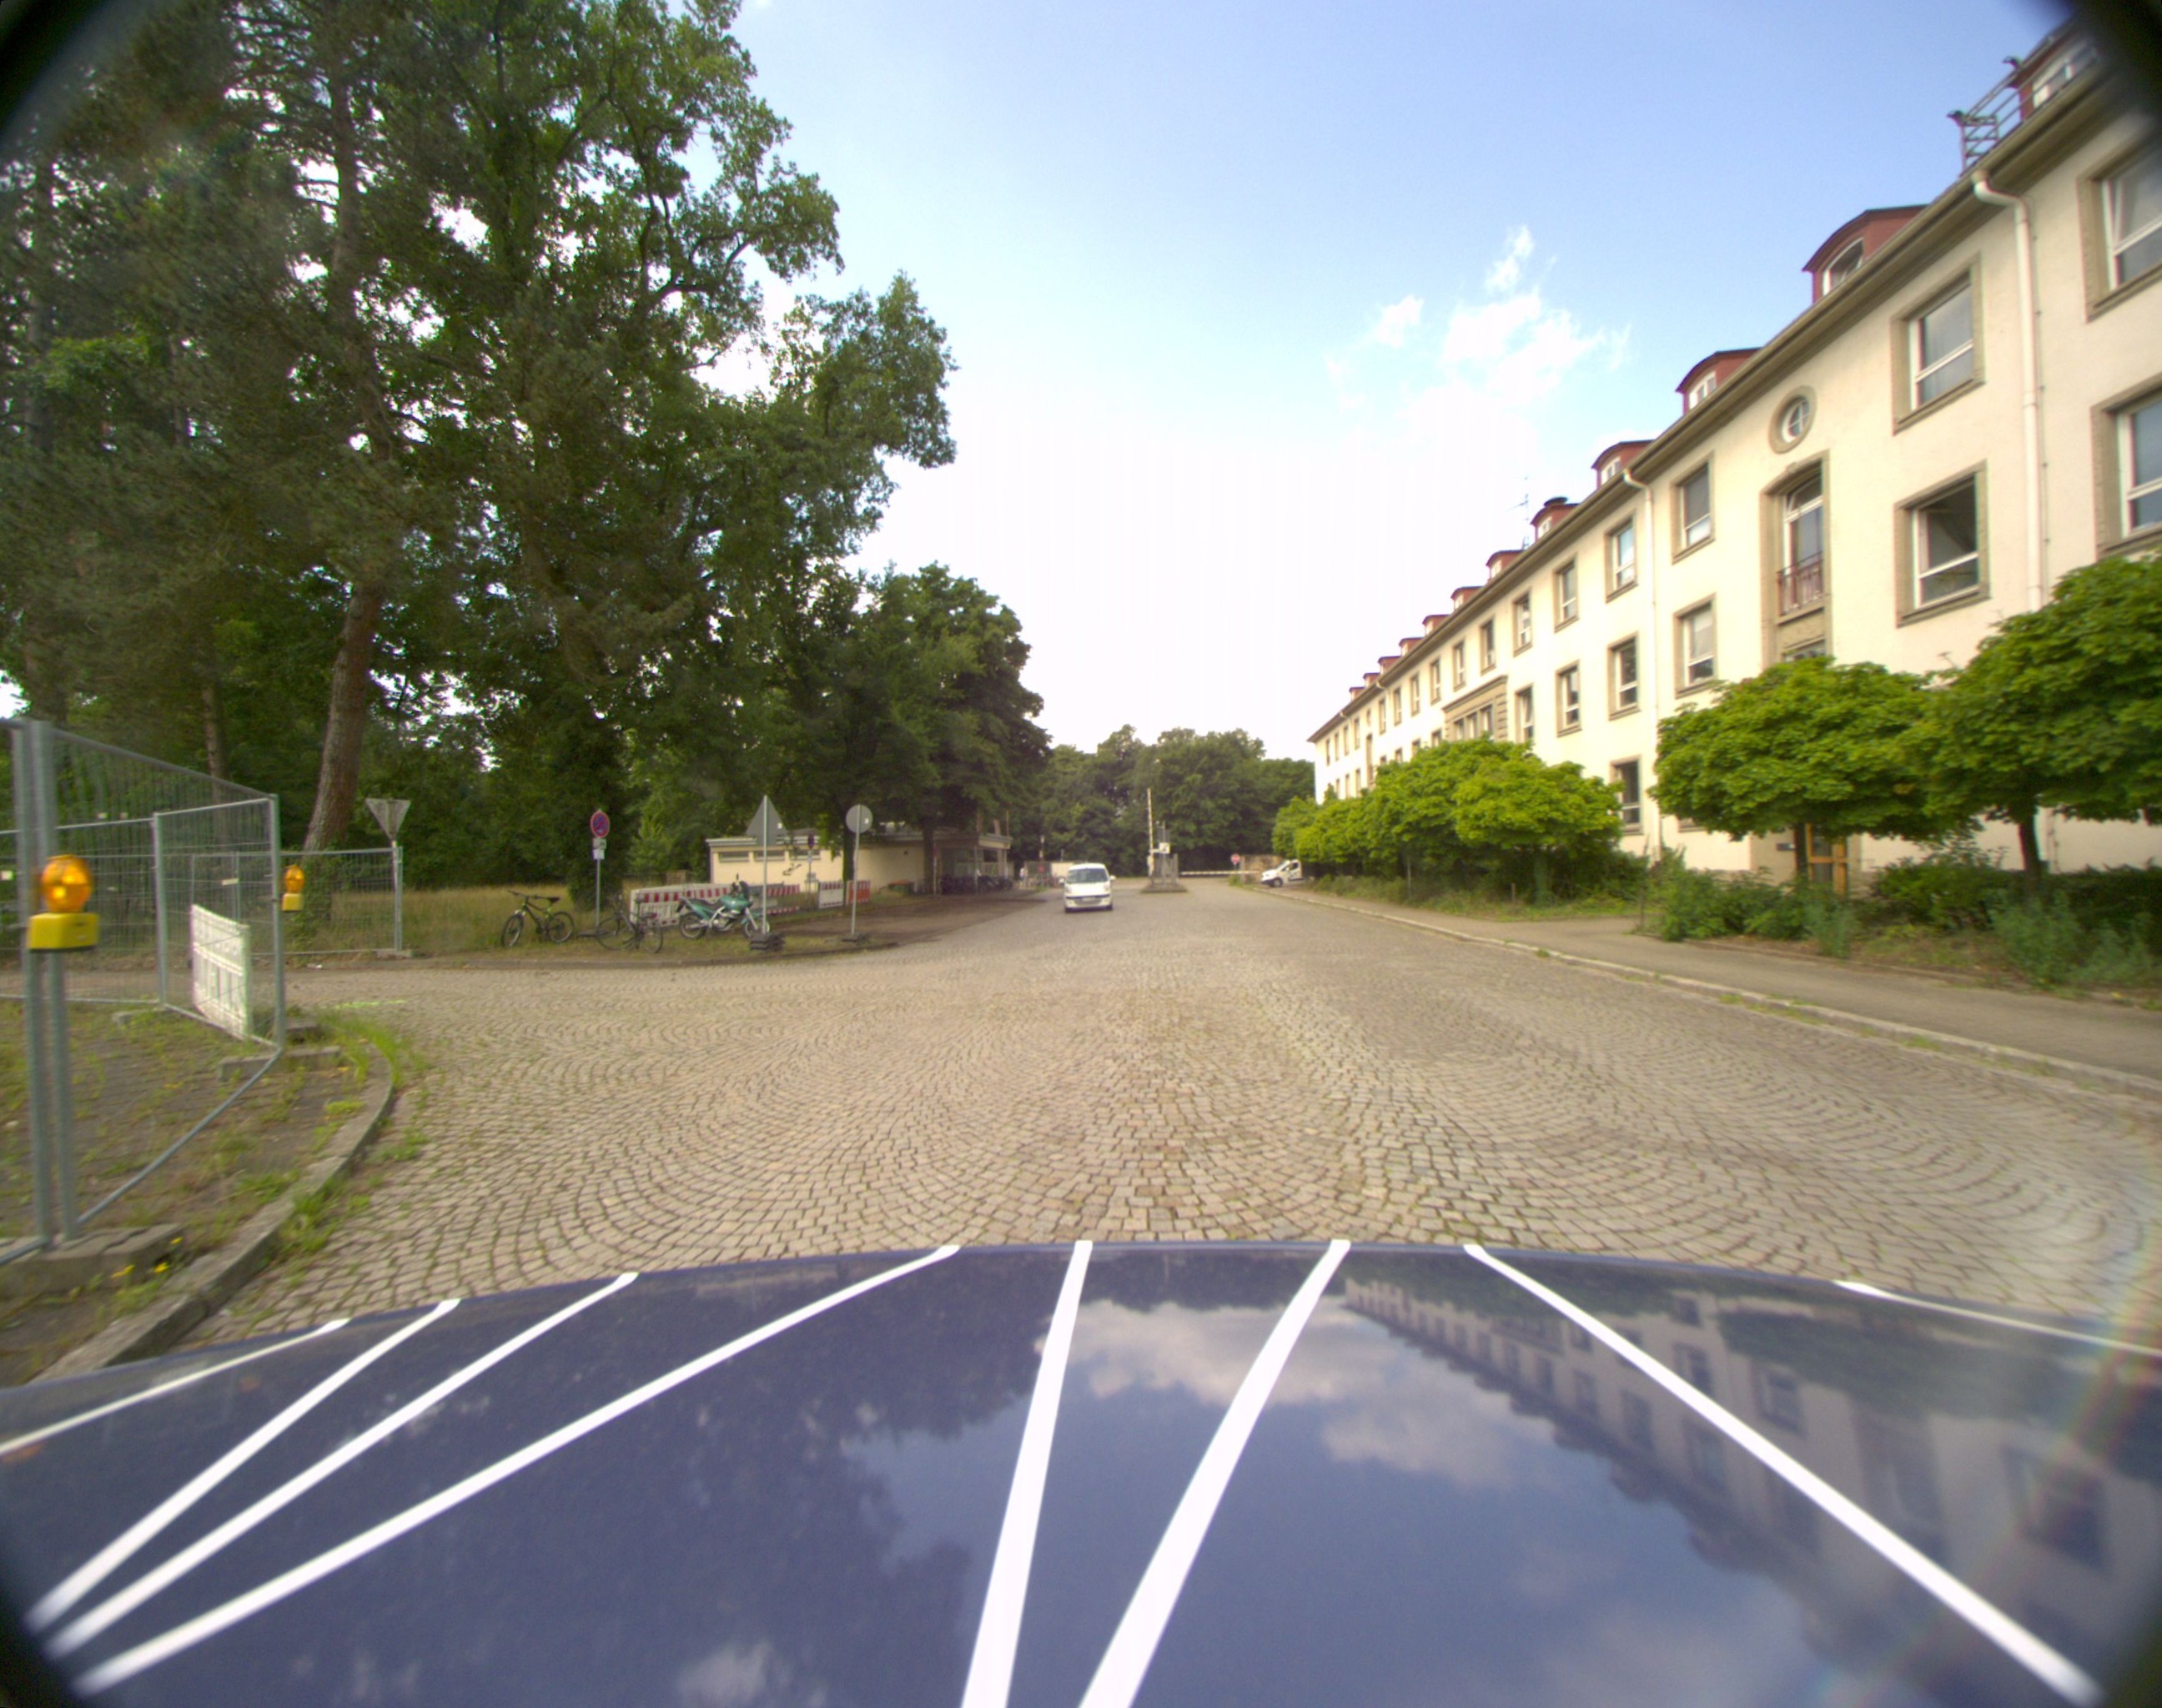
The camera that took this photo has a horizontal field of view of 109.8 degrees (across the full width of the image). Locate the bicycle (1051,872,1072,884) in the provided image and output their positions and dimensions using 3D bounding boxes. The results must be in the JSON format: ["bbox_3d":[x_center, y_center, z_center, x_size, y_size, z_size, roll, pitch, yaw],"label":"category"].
[{"bbox_3d":[-1.633,2.042,64.247,1.729,1.027,0.387,-1,0,6],"label":"bicycle"}]

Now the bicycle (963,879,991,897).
[{"bbox_3d":[-6.408,2.076,46.718,1.681,1.101,0.338,0,0,-8],"label":"bicycle"}]

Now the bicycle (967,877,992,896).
[{"bbox_3d":[-6.556,2.091,49.048,1.635,1.183,0.473,0,0,-8],"label":"bicycle"}]

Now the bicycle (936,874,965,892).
[{"bbox_3d":[-8.305,1.829,48.372,1.745,1.158,0.608,0,0,1],"label":"bicycle"}]

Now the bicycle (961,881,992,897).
[{"bbox_3d":[-6.549,2.175,47.620,1.748,0.970,0.757,0,-1,-25],"label":"bicycle"}]

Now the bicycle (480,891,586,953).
[{"bbox_3d":[-11.270,1.368,15.717,0.643,1.162,1.906,-1,-2,7],"label":"bicycle"}]

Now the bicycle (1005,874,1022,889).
[{"bbox_3d":[-4.947,2.025,55.836,1.154,1.056,0.287,-2,0,-16],"label":"bicycle"}]

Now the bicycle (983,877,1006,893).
[{"bbox_3d":[-5.985,2.145,52.631,1.595,1.134,0.325,0,0,-2],"label":"bicycle"}]

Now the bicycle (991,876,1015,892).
[{"bbox_3d":[-5.555,2.145,54.099,1.617,1.134,0.325,0,0,-2],"label":"bicycle"}]

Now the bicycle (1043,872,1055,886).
[{"bbox_3d":[-2.455,1.924,58.925,0.691,1.055,1.566,-2,-1,6],"label":"bicycle"}]

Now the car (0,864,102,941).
[{"bbox_3d":[-26.800,1.210,18.099,2.002,1.814,4.867,-3,-1,-22],"label":"car"}]

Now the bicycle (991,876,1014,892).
[{"bbox_3d":[-5.650,2.166,54.572,1.617,1.134,0.356,0,0,-2],"label":"bicycle"}]

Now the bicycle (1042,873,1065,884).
[{"bbox_3d":[-2.296,2.045,63.456,1.867,0.933,0.504,-1,0,0],"label":"bicycle"}]

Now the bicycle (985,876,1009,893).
[{"bbox_3d":[-5.889,2.147,53.297,1.617,1.134,0.325,0,0,-2],"label":"bicycle"}]

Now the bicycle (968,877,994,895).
[{"bbox_3d":[-6.519,2.083,49.608,1.635,1.183,0.419,0,0,-7],"label":"bicycle"}]

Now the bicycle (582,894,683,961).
[{"bbox_3d":[-8.482,1.360,14.352,1.900,1.190,0.657,-2,-1,25],"label":"bicycle"}]

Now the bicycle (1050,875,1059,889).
[{"bbox_3d":[-2.149,2.244,61.231,0.474,1.051,1.733,-2,-1,6],"label":"bicycle"}]

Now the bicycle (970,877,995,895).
[{"bbox_3d":[-6.515,2.123,50.222,1.635,1.183,0.419,0,0,-7],"label":"bicycle"}]

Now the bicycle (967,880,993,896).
[{"bbox_3d":[-6.442,2.182,48.407,1.637,0.970,0.322,0,0,-25],"label":"bicycle"}]

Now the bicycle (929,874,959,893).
[{"bbox_3d":[-8.531,1.829,47.359,1.745,1.158,0.608,0,0,1],"label":"bicycle"}]

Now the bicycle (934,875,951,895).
[{"bbox_3d":[-8.061,1.779,44.316,0.598,1.110,1.636,0,-1,4],"label":"bicycle"}]

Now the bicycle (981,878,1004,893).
[{"bbox_3d":[-6.065,2.169,52.156,1.595,1.043,0.325,0,0,-2],"label":"bicycle"}]

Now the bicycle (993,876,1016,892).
[{"bbox_3d":[-5.555,2.168,55.219,1.617,1.134,0.356,0,0,-2],"label":"bicycle"}]

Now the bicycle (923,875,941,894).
[{"bbox_3d":[-8.700,1.770,44.362,0.598,1.110,1.636,0,-1,4],"label":"bicycle"}]

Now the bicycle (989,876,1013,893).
[{"bbox_3d":[-5.645,2.146,53.719,1.617,1.134,0.325,0,0,-2],"label":"bicycle"}]

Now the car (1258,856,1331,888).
[{"bbox_3d":[14.387,1.179,51.304,4.311,1.795,1.821,-5,0,3],"label":"car"}]

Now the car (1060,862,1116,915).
[{"bbox_3d":[0.332,1.271,29.056,1.866,1.748,4.150,-4,-1,3],"label":"car"}]

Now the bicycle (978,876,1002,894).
[{"bbox_3d":[-6.098,2.109,50.993,1.635,1.183,0.499,0,0,-7],"label":"bicycle"}]

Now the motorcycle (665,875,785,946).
[{"bbox_3d":[-7.837,1.227,16.795,2.282,1.476,0.757,-1,0,0],"label":"motorcycle"}]

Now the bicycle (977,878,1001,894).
[{"bbox_3d":[-6.246,2.180,51.623,1.635,1.043,0.334,0,0,-9],"label":"bicycle"}]

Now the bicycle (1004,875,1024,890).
[{"bbox_3d":[-4.937,2.109,56.341,1.407,1.039,0.338,-2,0,-21],"label":"bicycle"}]
